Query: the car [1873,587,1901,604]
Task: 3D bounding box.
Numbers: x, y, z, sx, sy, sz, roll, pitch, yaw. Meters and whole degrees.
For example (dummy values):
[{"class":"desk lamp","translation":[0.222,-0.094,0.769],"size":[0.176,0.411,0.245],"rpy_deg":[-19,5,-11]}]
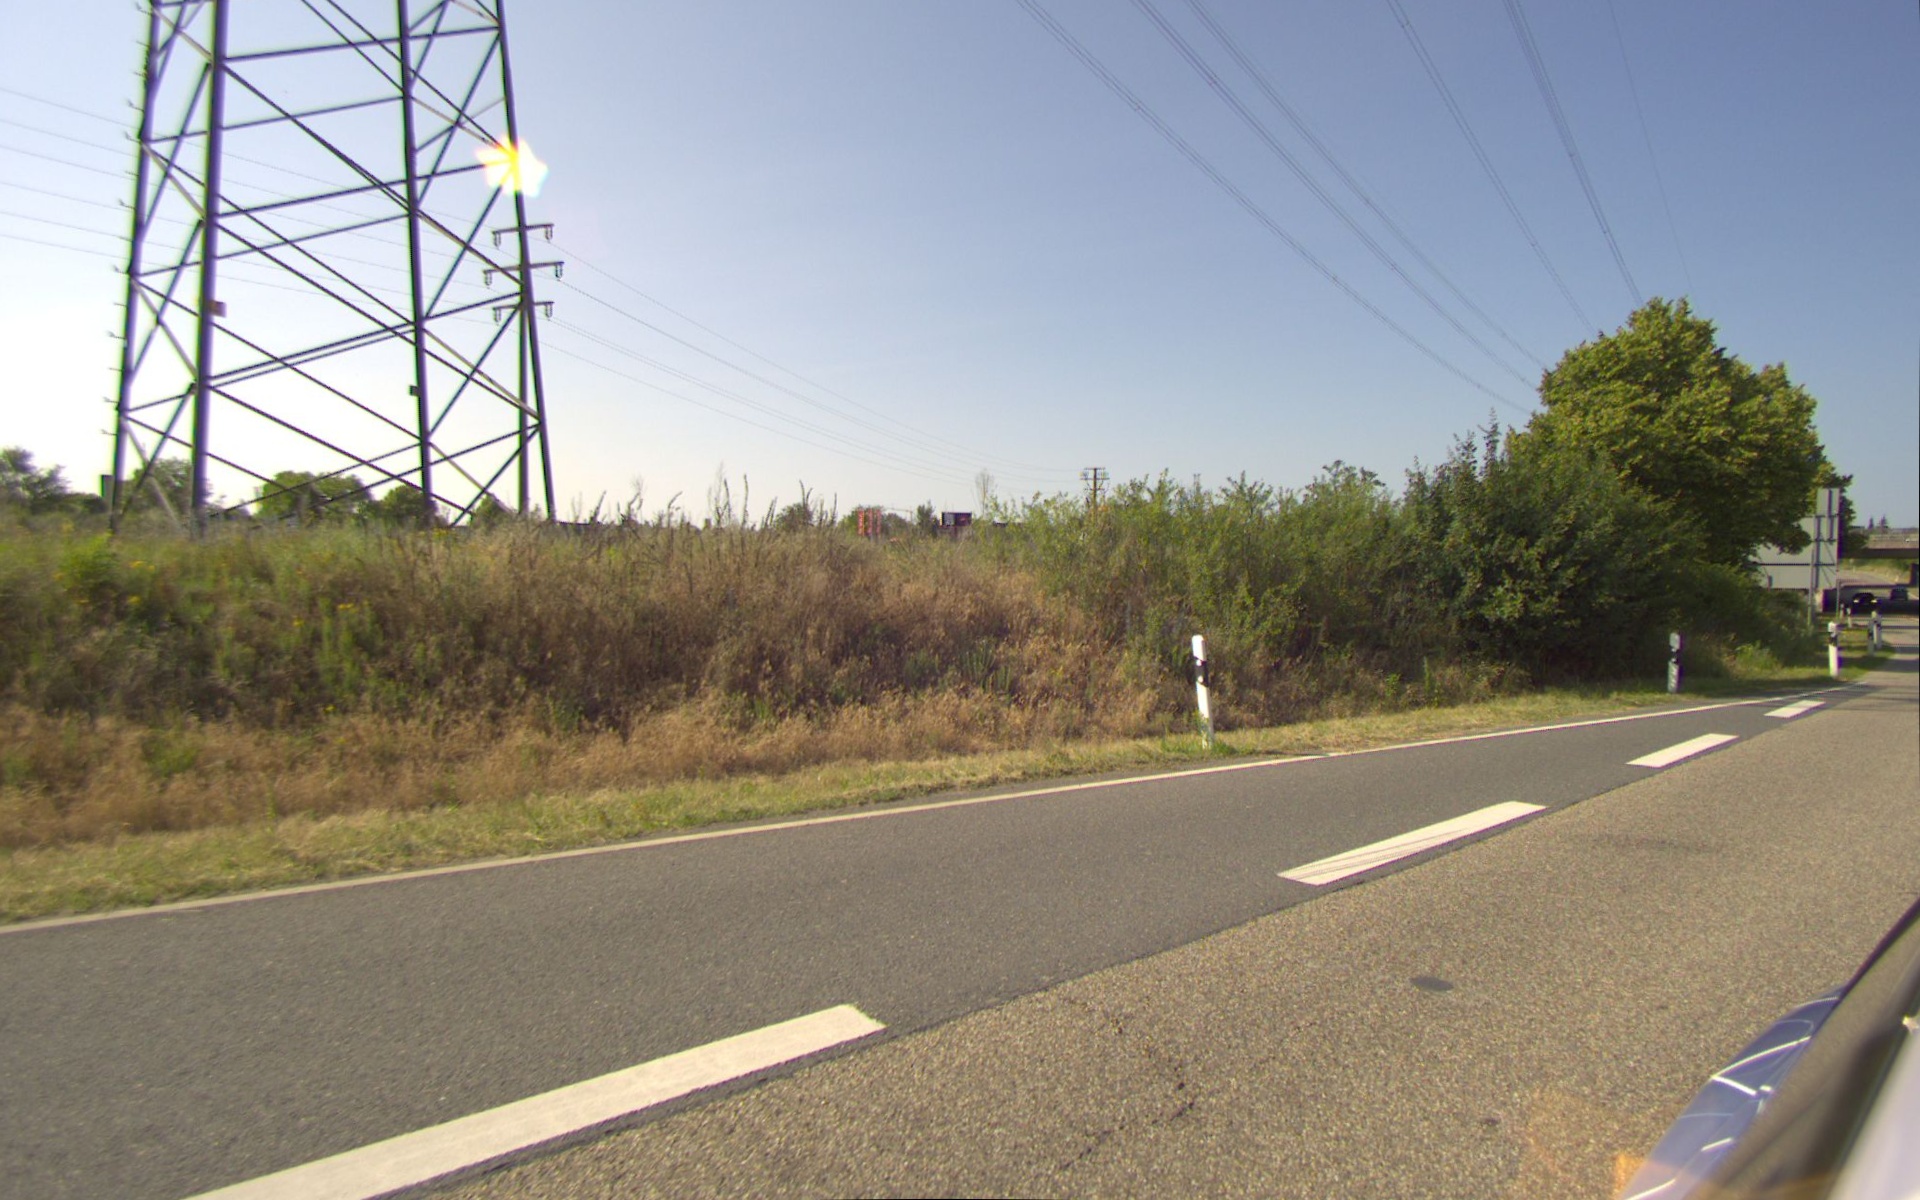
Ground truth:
[{"class":"car","translation":[93.126,-0.431,101.696],"size":[1.852,1.639,3.595],"rpy_deg":[1,1,40]}]
